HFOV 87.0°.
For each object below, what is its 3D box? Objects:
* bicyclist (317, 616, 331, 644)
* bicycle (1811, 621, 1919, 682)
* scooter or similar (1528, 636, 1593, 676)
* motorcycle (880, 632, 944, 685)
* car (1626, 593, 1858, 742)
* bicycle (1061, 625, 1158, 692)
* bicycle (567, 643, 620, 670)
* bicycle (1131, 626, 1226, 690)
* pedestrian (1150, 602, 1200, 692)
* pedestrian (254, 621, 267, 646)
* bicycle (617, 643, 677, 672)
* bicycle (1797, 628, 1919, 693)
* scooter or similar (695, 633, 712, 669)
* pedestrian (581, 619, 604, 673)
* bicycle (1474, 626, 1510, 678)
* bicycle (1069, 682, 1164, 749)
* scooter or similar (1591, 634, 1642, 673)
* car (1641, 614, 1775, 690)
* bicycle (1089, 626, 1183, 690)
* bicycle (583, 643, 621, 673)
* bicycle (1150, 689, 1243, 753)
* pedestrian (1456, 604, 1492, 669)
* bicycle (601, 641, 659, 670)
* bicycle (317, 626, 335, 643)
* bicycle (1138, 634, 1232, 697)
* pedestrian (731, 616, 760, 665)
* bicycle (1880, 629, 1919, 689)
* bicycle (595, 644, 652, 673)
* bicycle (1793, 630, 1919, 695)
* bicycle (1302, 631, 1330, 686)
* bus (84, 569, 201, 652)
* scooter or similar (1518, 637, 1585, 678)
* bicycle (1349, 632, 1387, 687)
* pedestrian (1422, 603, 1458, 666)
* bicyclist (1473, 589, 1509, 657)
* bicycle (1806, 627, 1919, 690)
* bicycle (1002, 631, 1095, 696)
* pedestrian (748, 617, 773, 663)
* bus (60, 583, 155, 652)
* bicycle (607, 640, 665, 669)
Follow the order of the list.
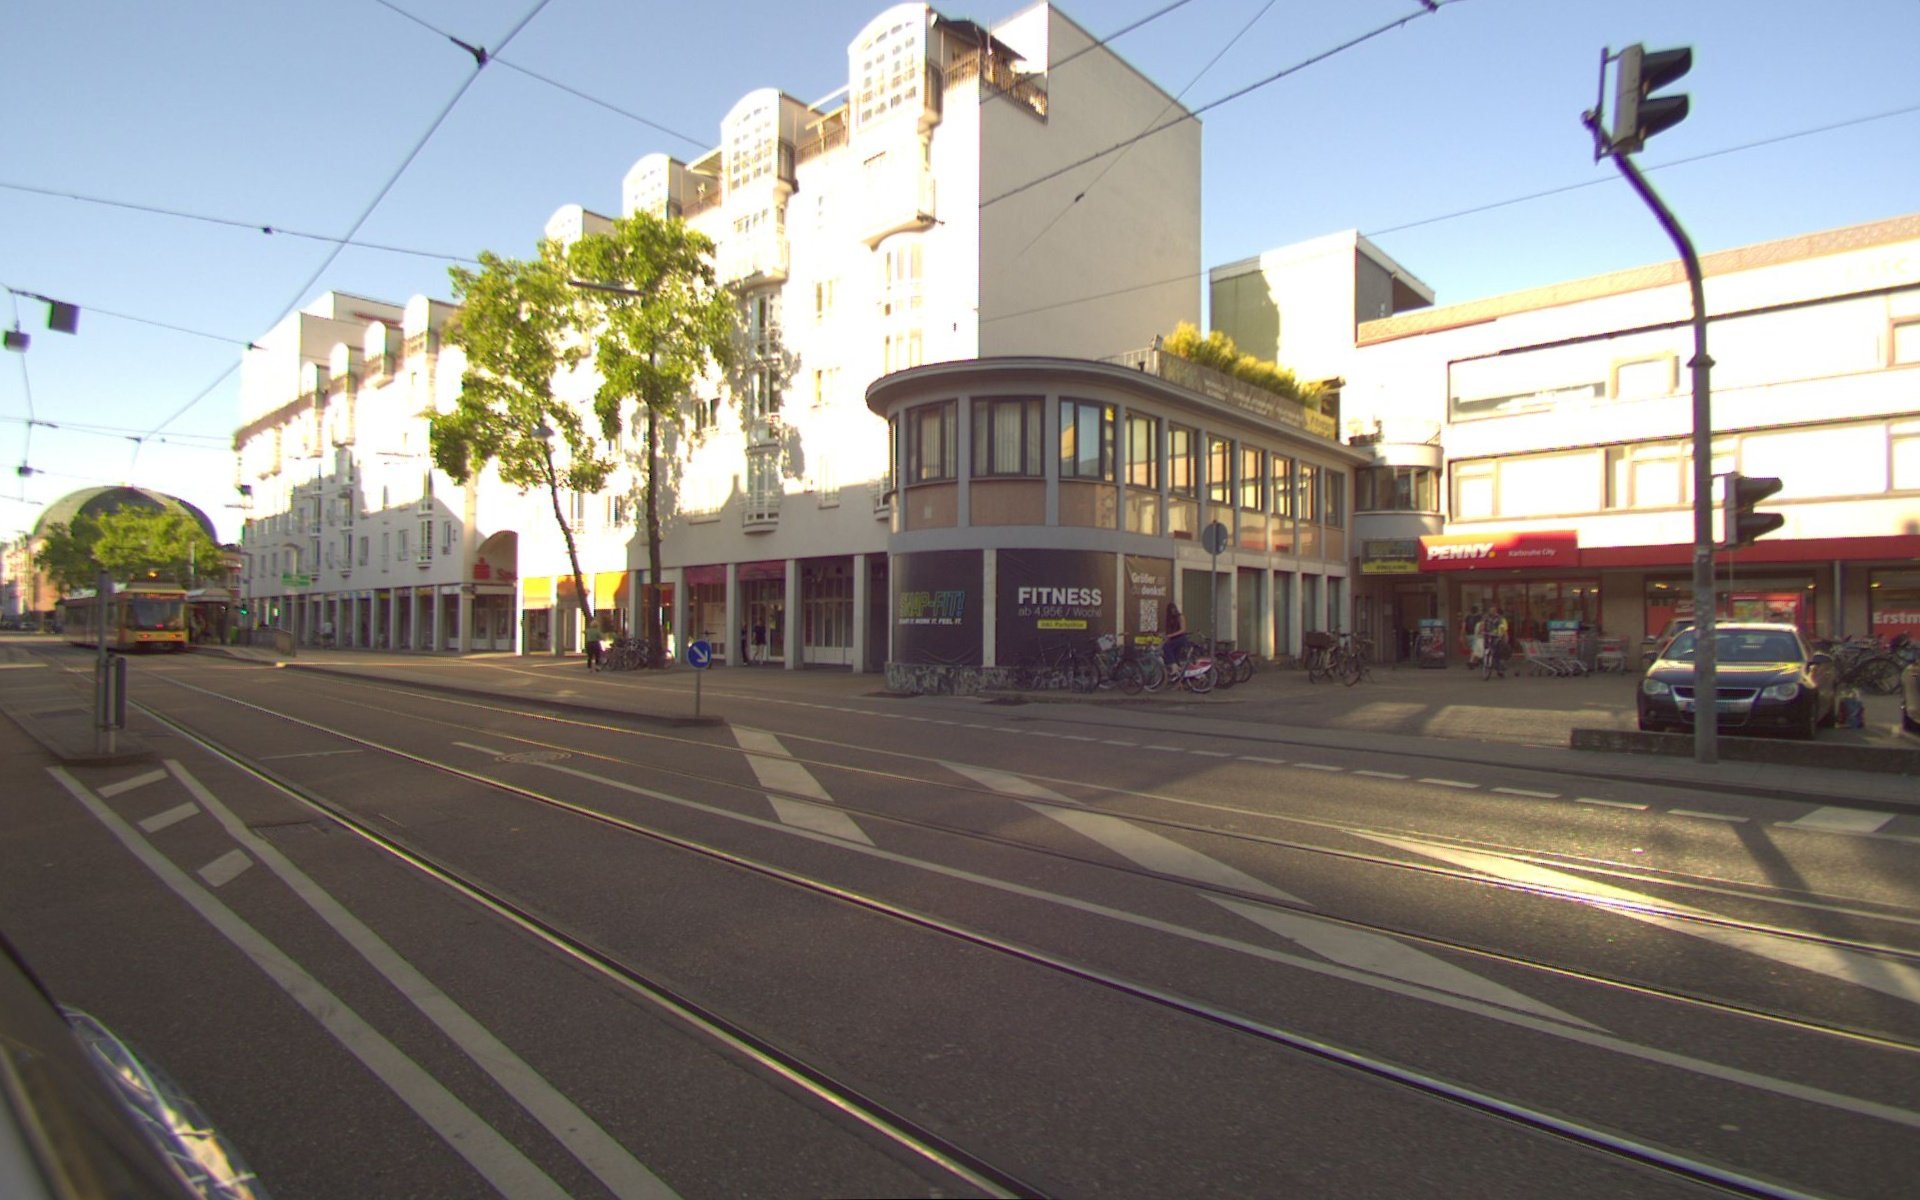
[{"bbox_3d":[-38.299,1.810,60.956,0.808,1.713,0.507,-3,-4,44],"label":"bicyclist"},{"bbox_3d":[18.518,1.053,20.517,0.426,1.197,1.834,4,-5,-39],"label":"bicycle"},{"bbox_3d":[15.022,1.400,25.331,1.247,0.969,0.903,-2,-4,42],"label":"scooter or similar"},{"bbox_3d":[-1.197,1.463,25.603,0.561,1.288,1.737,-4,-3,40],"label":"motorcycle"},{"bbox_3d":[10.410,0.904,13.313,1.880,1.595,4.840,-4,-6,43],"label":"car"},{"bbox_3d":[2.789,1.107,19.014,1.829,1.197,0.436,-3,-5,38],"label":"bicycle"},{"bbox_3d":[-12.568,1.931,34.753,0.418,0.919,1.753,-2,-3,39],"label":"bicycle"},{"bbox_3d":[4.258,1.141,19.809,1.830,1.197,0.443,-3,-6,41],"label":"bicycle"},{"bbox_3d":[4.190,0.928,19.719,0.683,1.710,0.673,-3,-6,41],"label":"pedestrian"},{"bbox_3d":[-48.752,2.318,70.529,0.707,1.729,0.526,-3,-5,45],"label":"pedestrian"},{"bbox_3d":[-10.047,1.838,32.542,1.822,0.919,0.390,2,-3,-42],"label":"bicycle"},{"bbox_3d":[17.515,1.186,19.667,0.426,1.197,1.834,4,-5,-39],"label":"bicycle"},{"bbox_3d":[-8.253,1.653,32.557,0.330,1.120,1.183,2,-4,-23],"label":"scooter or similar"},{"bbox_3d":[-11.859,1.487,32.653,0.621,1.729,0.827,2,-4,-19],"label":"pedestrian"},{"bbox_3d":[12.632,1.254,24.056,0.679,1.180,1.815,-2,-5,26],"label":"bicycle"},{"bbox_3d":[2.977,2.181,19.381,1.830,1.197,0.443,-3,-6,41],"label":"bicycle"},{"bbox_3d":[16.825,1.364,25.932,0.915,0.969,1.347,-2,-4,41],"label":"scooter or similar"},{"bbox_3d":[16.318,1.205,22.301,1.872,1.487,4.554,-2,-5,31],"label":"car"},{"bbox_3d":[3.400,1.127,19.711,1.830,1.197,0.438,-3,-6,41],"label":"bicycle"},{"bbox_3d":[-11.565,1.866,32.640,1.852,0.919,0.384,-3,-3,44],"label":"bicycle"},{"bbox_3d":[4.744,2.411,20.390,1.830,1.197,0.443,-3,-6,41],"label":"bicycle"},{"bbox_3d":[13.974,1.005,27.504,0.683,1.710,0.669,-4,-6,43],"label":"pedestrian"},{"bbox_3d":[-10.976,1.842,33.719,1.822,0.919,0.390,2,-3,-42],"label":"bicycle"},{"bbox_3d":[-38.187,2.079,60.929,1.727,0.996,0.511,-3,-3,44],"label":"bicycle"},{"bbox_3d":[4.462,1.308,20.134,1.830,1.197,0.443,-3,-6,41],"label":"bicycle"},{"bbox_3d":[-7.591,1.437,35.765,0.825,1.729,0.623,-3,-5,45],"label":"pedestrian"},{"bbox_3d":[19.842,1.189,20.401,0.426,1.197,1.834,4,-5,-39],"label":"bicycle"},{"bbox_3d":[-11.285,1.951,33.980,1.822,0.919,0.390,2,-3,-42],"label":"bicycle"},{"bbox_3d":[17.157,1.196,19.328,0.426,1.197,1.834,4,-5,-39],"label":"bicycle"},{"bbox_3d":[8.069,1.347,22.989,0.452,1.197,1.822,-1,-4,15],"label":"bicycle"},{"bbox_3d":[-40.751,0.756,50.189,13.682,3.595,2.779,-3,-5,44],"label":"bus"},{"bbox_3d":[14.393,1.387,24.623,1.247,0.969,0.903,-2,-4,42],"label":"scooter or similar"},{"bbox_3d":[9.231,1.349,22.878,0.349,1.197,1.809,-3,-5,36],"label":"bicycle"},{"bbox_3d":[13.318,0.980,28.078,0.703,1.710,0.616,-4,-6,43],"label":"pedestrian"},{"bbox_3d":[12.649,0.558,24.127,0.688,1.561,0.830,-2,-5,26],"label":"bicyclist"},{"bbox_3d":[18.136,1.176,20.189,0.426,1.197,1.834,4,-5,-39],"label":"bicycle"},{"bbox_3d":[1.671,1.216,19.359,1.828,1.197,0.441,-3,-5,38],"label":"bicycle"},{"bbox_3d":[-6.969,1.415,35.319,0.632,1.588,0.552,-3,-5,45],"label":"pedestrian"},{"bbox_3d":[-50.437,1.232,59.647,13.682,3.595,2.779,-3,-5,44],"label":"bus"},{"bbox_3d":[-10.672,1.785,33.372,1.822,0.919,0.390,2,-4,-42],"label":"bicycle"}]
